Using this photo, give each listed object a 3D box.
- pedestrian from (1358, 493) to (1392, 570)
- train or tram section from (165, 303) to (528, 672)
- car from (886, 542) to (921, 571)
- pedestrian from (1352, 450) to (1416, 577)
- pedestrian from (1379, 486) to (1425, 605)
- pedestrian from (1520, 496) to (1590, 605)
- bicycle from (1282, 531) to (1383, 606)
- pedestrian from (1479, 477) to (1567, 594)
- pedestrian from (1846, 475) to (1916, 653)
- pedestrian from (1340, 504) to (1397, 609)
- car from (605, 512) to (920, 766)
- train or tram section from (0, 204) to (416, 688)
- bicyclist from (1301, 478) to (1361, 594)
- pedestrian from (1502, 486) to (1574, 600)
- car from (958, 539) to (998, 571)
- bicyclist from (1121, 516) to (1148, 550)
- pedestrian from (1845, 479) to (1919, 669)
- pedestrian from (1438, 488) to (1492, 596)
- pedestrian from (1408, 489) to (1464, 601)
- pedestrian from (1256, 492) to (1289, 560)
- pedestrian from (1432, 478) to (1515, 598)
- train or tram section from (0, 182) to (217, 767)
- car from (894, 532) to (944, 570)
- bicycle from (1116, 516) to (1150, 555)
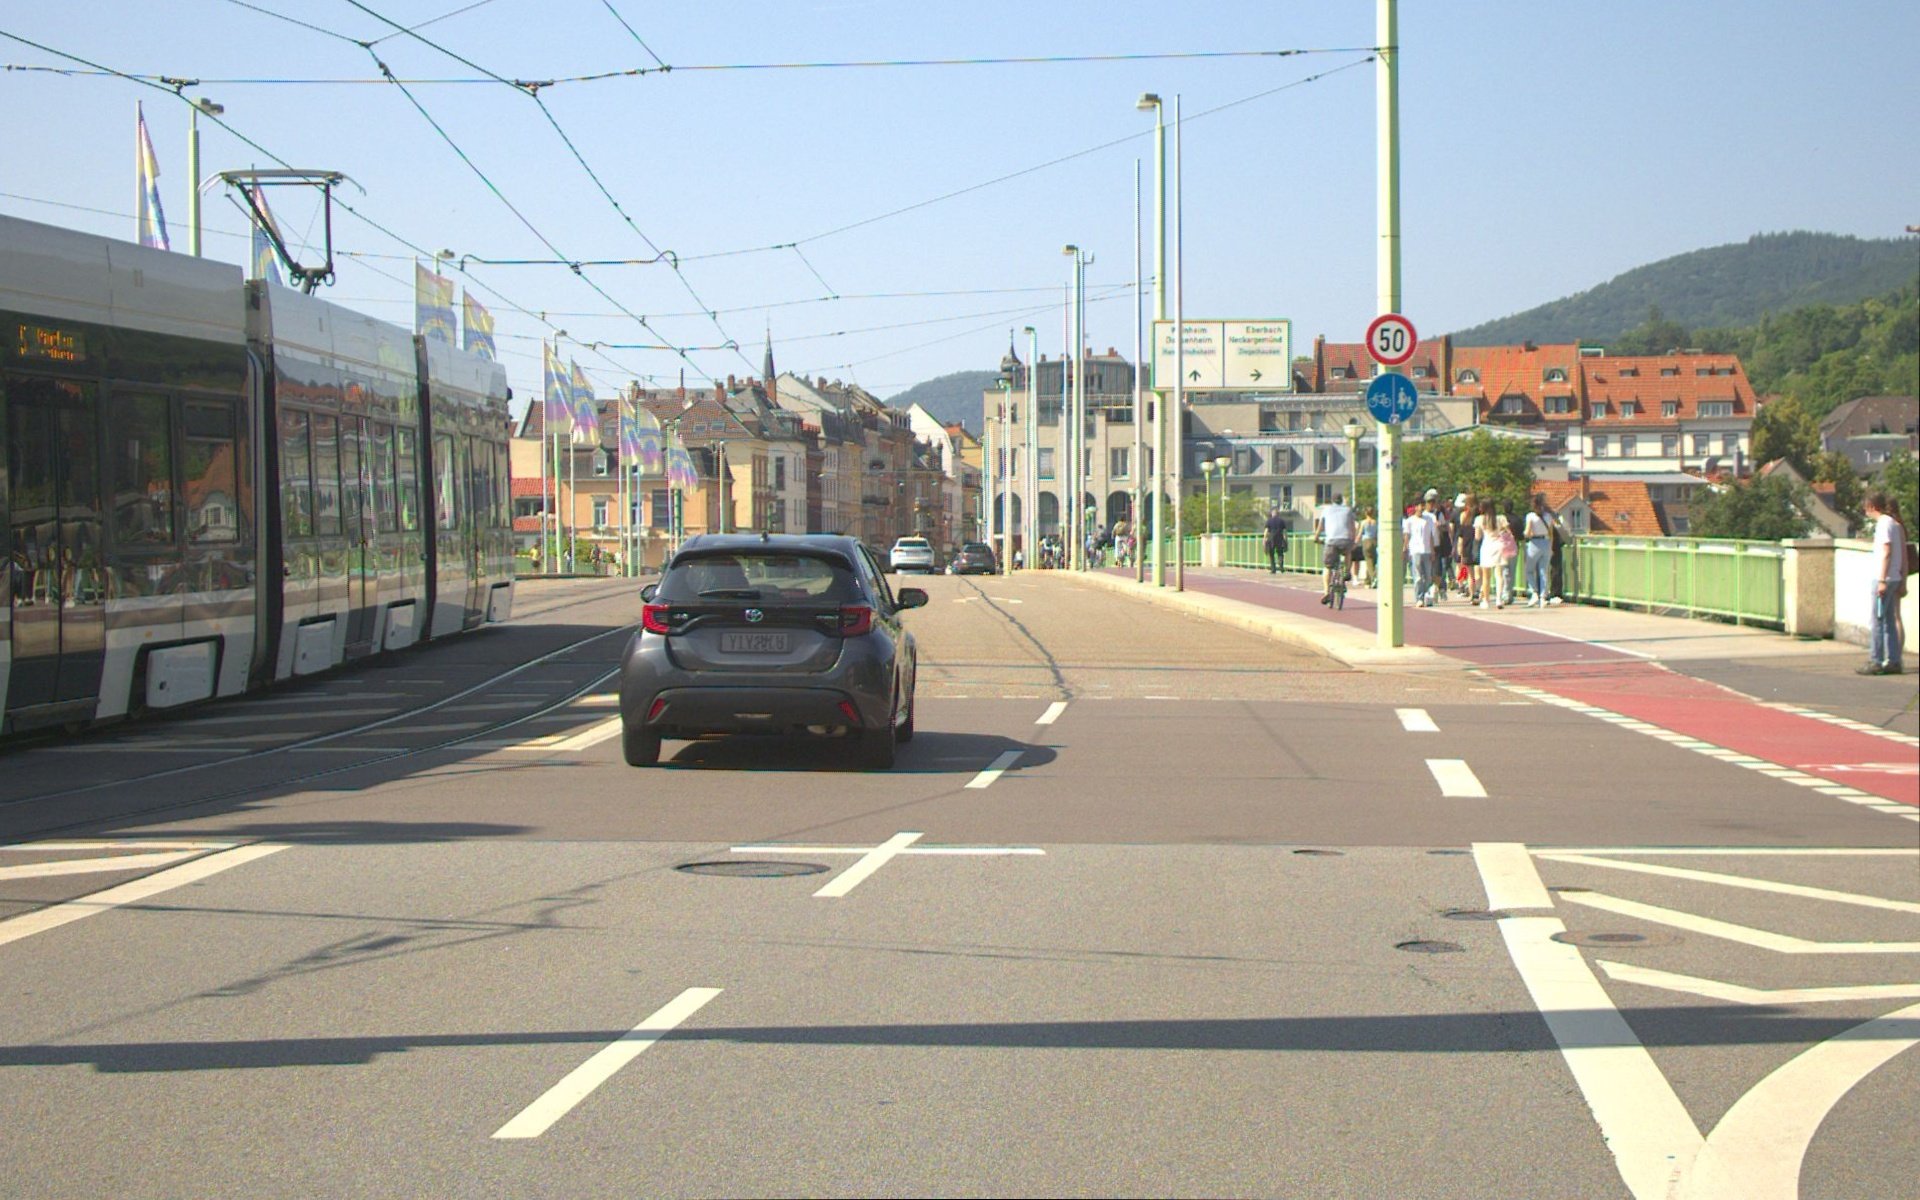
[{"bbox_3d":[8.492,-1.407,70.340,0.649,1.557,0.692,-1,2,5],"label":"pedestrian"},{"bbox_3d":[-7.056,-1.348,41.333,2.470,3.764,11.852,-1,2,-1],"label":"train or tram section"},{"bbox_3d":[-3.462,-2.674,210.451,1.993,1.711,4.001,0,1,-3],"label":"car"},{"bbox_3d":[6.740,-1.370,54.670,0.803,2.007,0.954,0,1,-7],"label":"pedestrian"},{"bbox_3d":[6.740,-0.832,52.387,0.549,1.793,0.646,0,1,-7],"label":"pedestrian"},{"bbox_3d":[8.961,-0.751,51.797,0.799,1.629,0.950,-1,1,-7],"label":"pedestrian"},{"bbox_3d":[5.650,-0.492,52.410,0.792,1.092,3.745,-1,1,-5],"label":"bicycle"},{"bbox_3d":[8.635,-0.991,52.788,0.984,1.763,1.254,-1,1,-7],"label":"pedestrian"},{"bbox_3d":[9.136,-0.362,34.126,0.534,1.754,0.577,0,2,2],"label":"pedestrian"},{"bbox_3d":[7.912,-0.846,66.637,0.873,2.007,1.059,0,1,-7],"label":"pedestrian"},{"bbox_3d":[-1.329,0.190,23.123,1.910,1.535,4.001,1,1,-3],"label":"car"},{"bbox_3d":[-6.796,-1.327,31.061,2.403,3.668,9.621,-1,2,-1],"label":"train or tram section"},{"bbox_3d":[5.647,-0.968,52.343,0.673,1.738,1.151,-1,1,-5],"label":"bicyclist"},{"bbox_3d":[8.519,-0.838,50.686,0.833,1.671,0.886,0,1,-7],"label":"pedestrian"},{"bbox_3d":[0.874,-2.169,164.992,1.804,1.464,4.000,-2,1,1],"label":"car"},{"bbox_3d":[5.428,-2.103,107.135,0.666,1.041,0.980,-1,1,-7],"label":"bicyclist"},{"bbox_3d":[9.181,-0.263,33.855,0.774,1.849,0.644,-1,1,2],"label":"pedestrian"},{"bbox_3d":[7.783,-0.889,52.973,0.654,1.644,0.868,0,1,-3],"label":"pedestrian"},{"bbox_3d":[7.324,-0.843,52.931,0.695,1.710,0.732,0,1,-7],"label":"pedestrian"},{"bbox_3d":[8.078,-1.913,88.852,0.654,1.737,0.979,0,2,-8],"label":"pedestrian"},{"bbox_3d":[7.574,-0.915,50.730,0.984,1.744,0.930,0,1,-7],"label":"pedestrian"},{"bbox_3d":[-7.526,-0.775,21.641,2.538,3.764,9.167,-1,2,8],"label":"train or tram section"},{"bbox_3d":[-1.684,-2.002,141.129,1.803,1.464,4.001,-2,1,-4],"label":"car"},{"bbox_3d":[5.397,-2.010,107.250,0.695,1.189,2.080,-1,0,-7],"label":"bicycle"}]
